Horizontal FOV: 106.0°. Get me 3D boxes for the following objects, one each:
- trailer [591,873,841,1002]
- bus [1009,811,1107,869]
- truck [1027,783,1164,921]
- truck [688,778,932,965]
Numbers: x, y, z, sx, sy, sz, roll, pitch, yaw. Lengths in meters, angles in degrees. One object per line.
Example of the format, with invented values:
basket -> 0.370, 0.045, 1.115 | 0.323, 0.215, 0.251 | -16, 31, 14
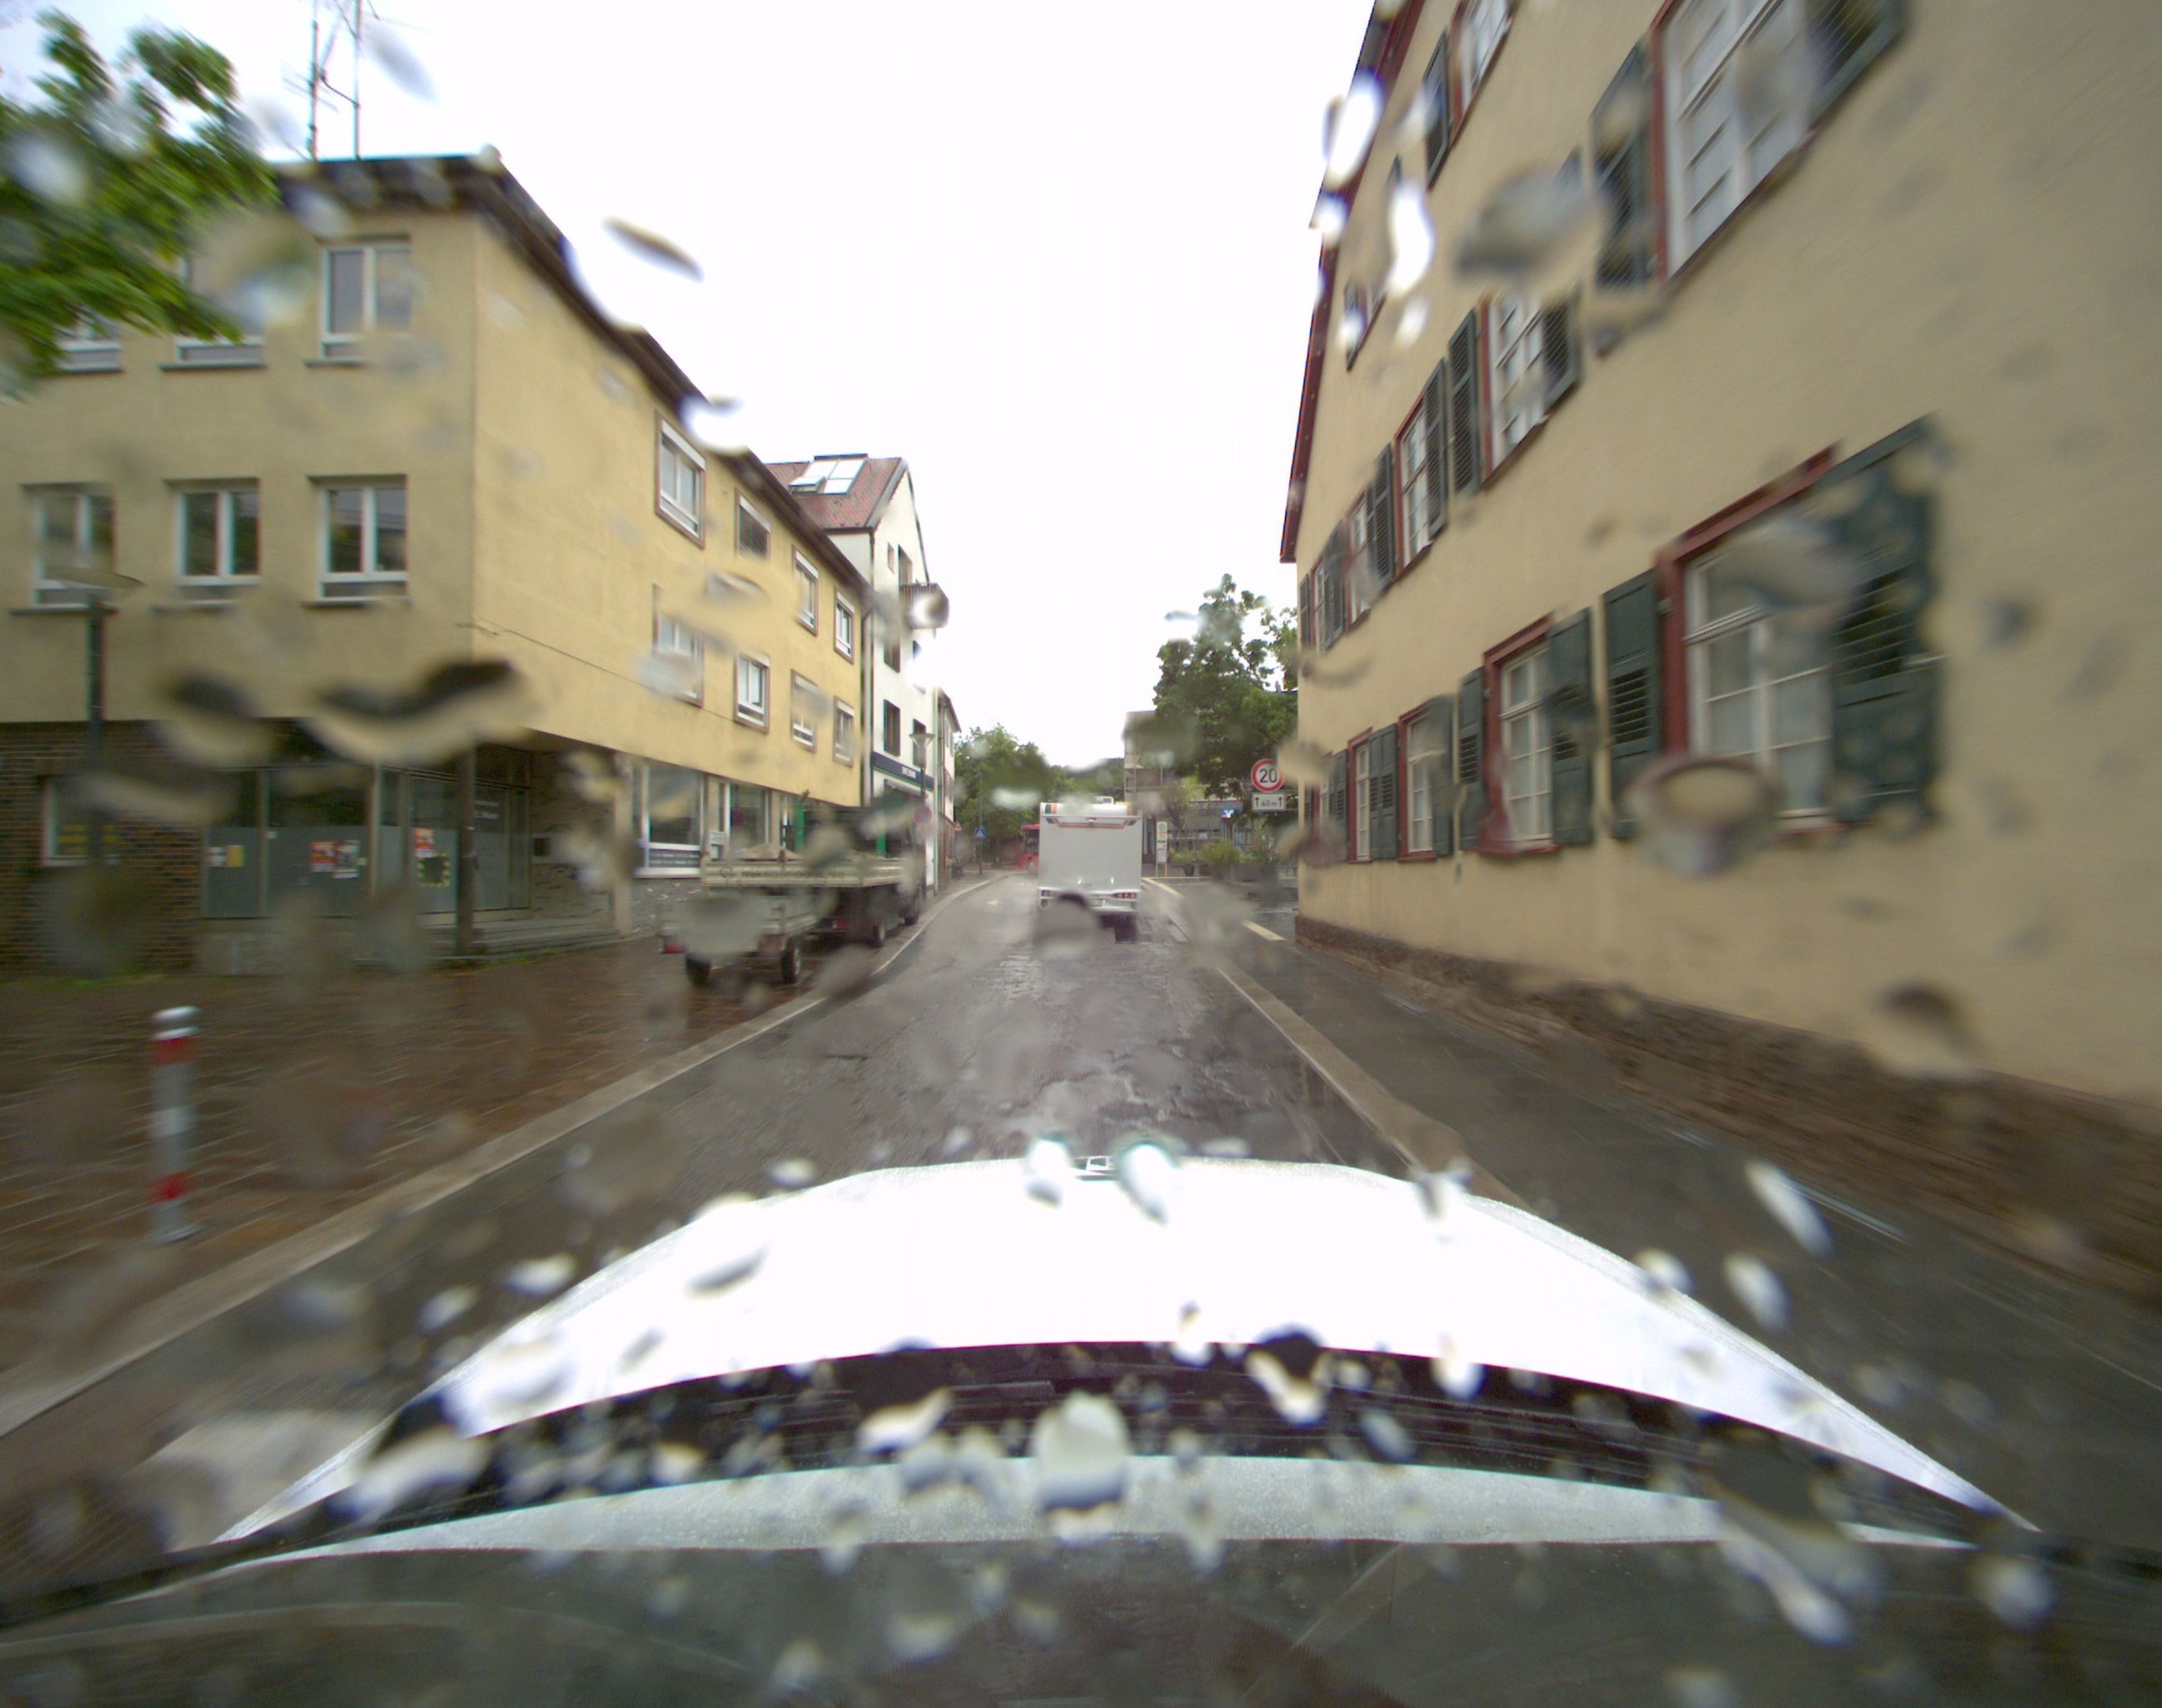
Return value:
trailer -> -4.178, 0.889, 9.872 | 1.849, 1.124, 3.015 | -1, 2, -5
bus -> -1.672, -0.729, 50.046 | 3.033, 3.146, 10.080 | -1, -1, -19
truck -> 0.193, -0.014, 20.092 | 2.799, 2.797, 6.101 | -2, -1, -3
truck -> -4.359, 0.128, 14.593 | 2.394, 2.594, 6.478 | 0, 2, -2
